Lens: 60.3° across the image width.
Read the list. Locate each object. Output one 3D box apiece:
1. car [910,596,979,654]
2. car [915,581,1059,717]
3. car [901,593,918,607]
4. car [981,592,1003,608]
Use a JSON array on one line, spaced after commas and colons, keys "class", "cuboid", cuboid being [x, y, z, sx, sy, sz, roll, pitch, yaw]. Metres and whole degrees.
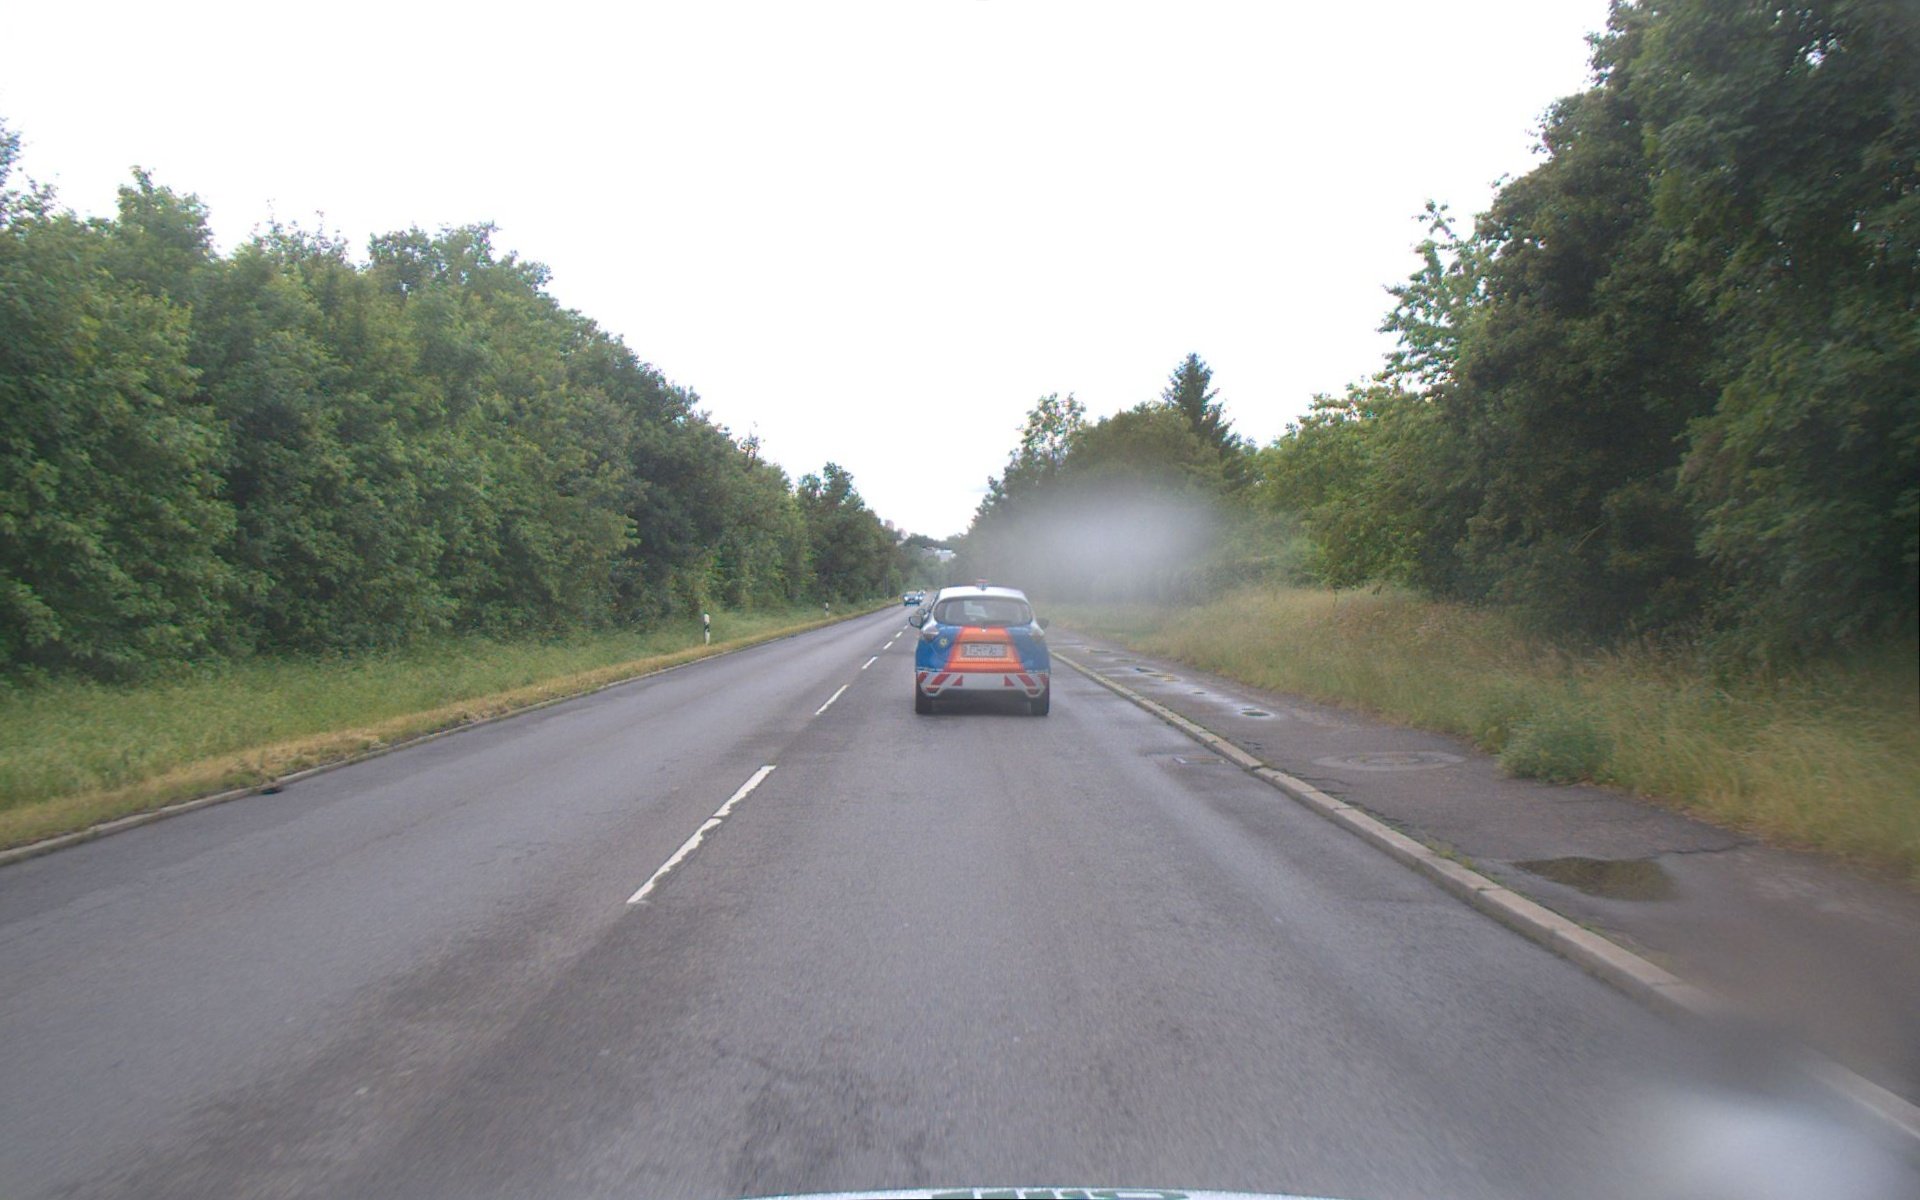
[{"class": "car", "cuboid": [-0.365, 0.575, 40.054, 1.566, 1.309, 3.476, -2, 0, 0]}, {"class": "car", "cuboid": [0.295, 0.565, 21.646, 1.716, 1.582, 3.792, 0, 1, -1]}, {"class": "car", "cuboid": [-5.817, -0.004, 191.328, 1.866, 1.584, 4.515, -2, 0, -1]}, {"class": "car", "cuboid": [2.927, -0.019, 151.946, 1.953, 1.400, 4.000, -2, 0, 0]}]
